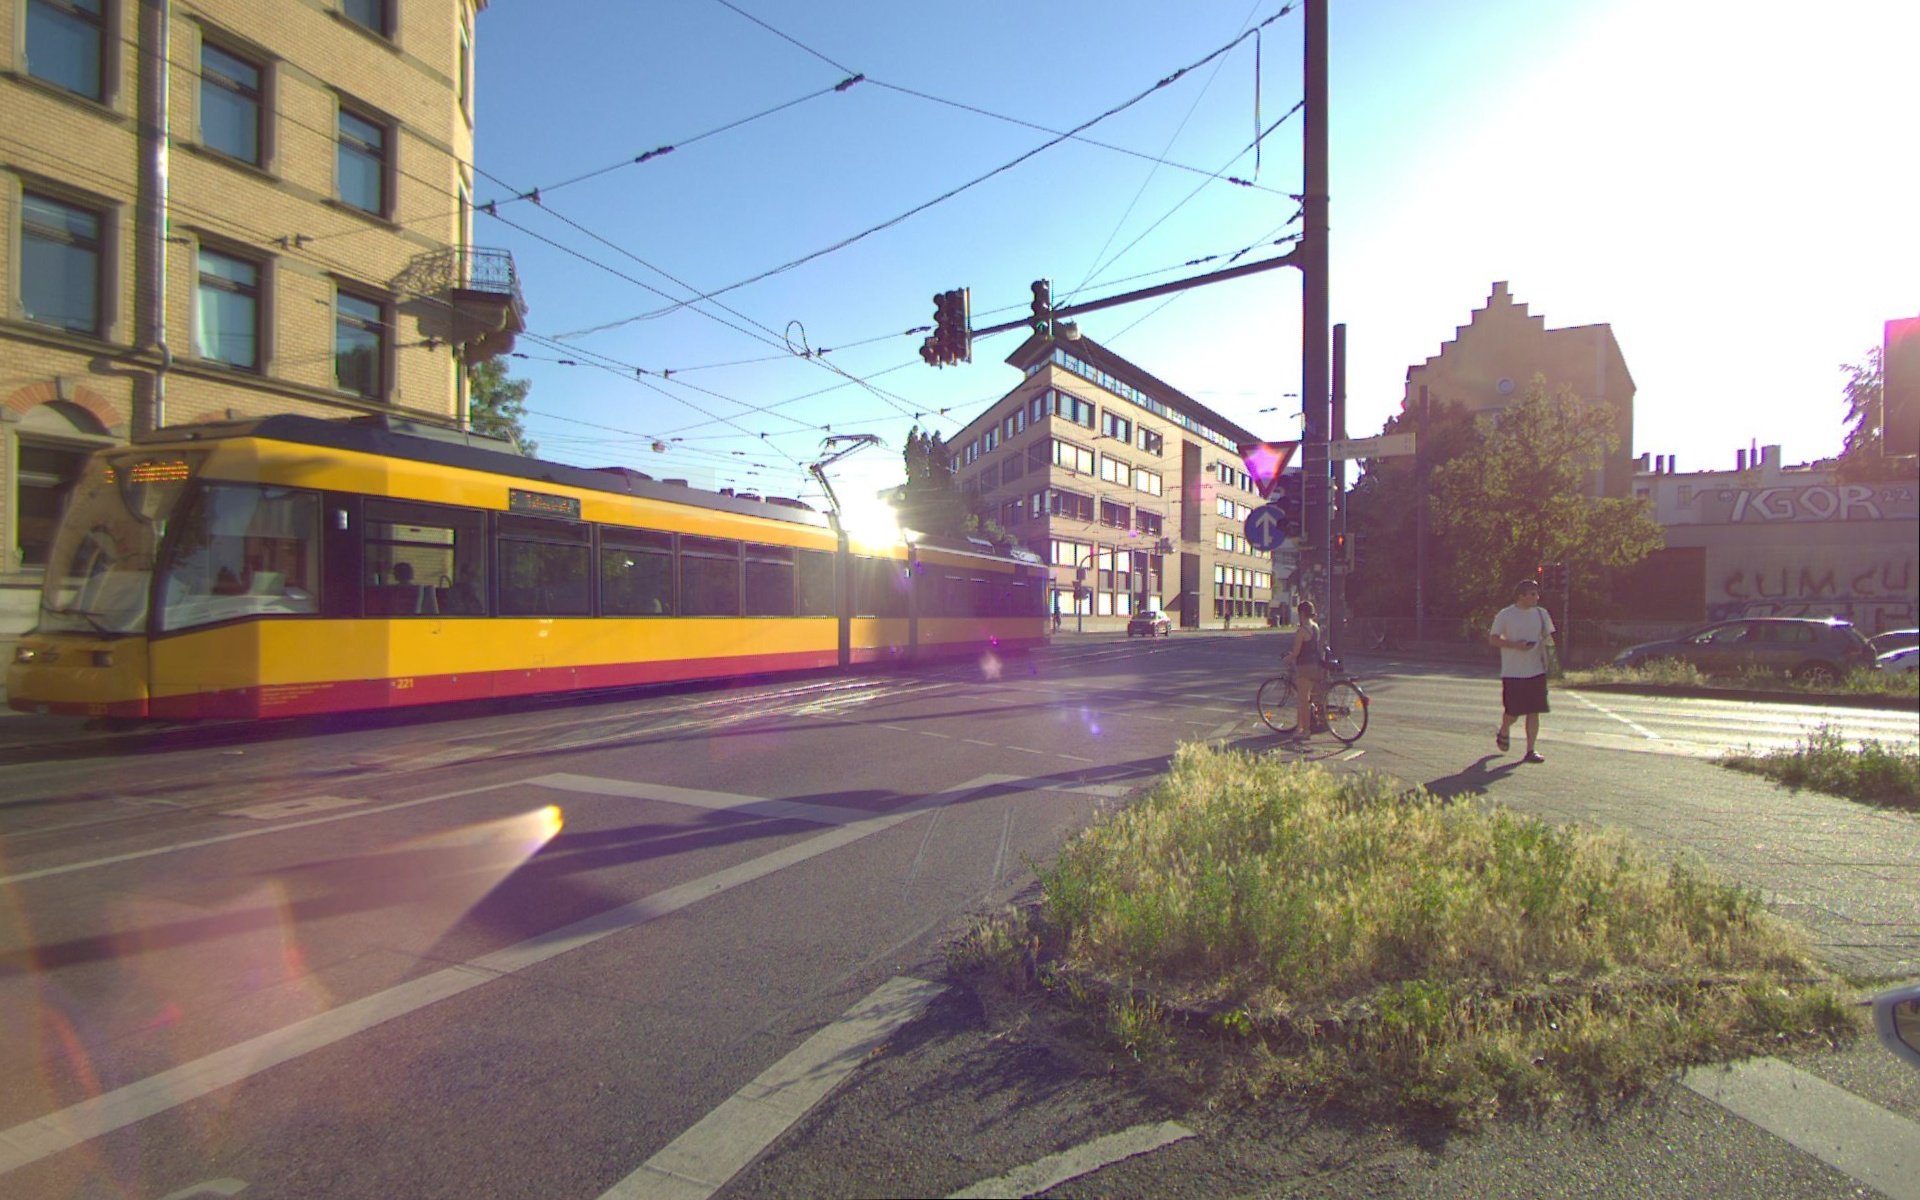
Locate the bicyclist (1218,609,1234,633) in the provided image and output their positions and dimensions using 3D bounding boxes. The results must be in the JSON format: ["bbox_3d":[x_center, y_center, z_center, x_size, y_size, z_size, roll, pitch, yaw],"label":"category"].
[{"bbox_3d":[23.382,1.837,88.300,0.978,2.040,1.247,0,0,36],"label":"bicyclist"}]

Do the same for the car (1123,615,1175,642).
[{"bbox_3d":[12.130,1.831,64.297,1.790,1.636,4.454,0,-1,32],"label":"car"}]

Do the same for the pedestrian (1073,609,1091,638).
[{"bbox_3d":[8.774,1.662,72.180,0.914,2.040,0.986,0,0,33],"label":"pedestrian"}]

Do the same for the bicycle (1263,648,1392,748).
[{"bbox_3d":[4.310,1.123,11.904,0.394,1.043,1.662,1,-1,-23],"label":"bicycle"}]

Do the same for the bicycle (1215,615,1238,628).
[{"bbox_3d":[23.418,1.884,88.357,0.996,1.150,2.817,1,0,36],"label":"bicycle"}]

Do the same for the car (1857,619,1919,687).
[{"bbox_3d":[20.439,1.079,19.934,1.713,1.337,3.843,1,-1,-45],"label":"car"}]

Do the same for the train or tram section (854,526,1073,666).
[{"bbox_3d":[0.624,-0.001,31.272,2.814,3.554,11.294,0,-1,22],"label":"train or tram section"}]

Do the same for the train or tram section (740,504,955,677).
[{"bbox_3d":[-2.436,-0.148,23.605,2.814,3.554,5.302,0,-1,22],"label":"train or tram section"}]

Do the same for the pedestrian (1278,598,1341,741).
[{"bbox_3d":[4.147,0.805,11.926,0.483,1.653,0.522,1,-1,-24],"label":"pedestrian"}]

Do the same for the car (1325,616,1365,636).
[{"bbox_3d":[27.472,1.844,71.568,1.761,1.407,3.988,0,-1,35],"label":"car"}]

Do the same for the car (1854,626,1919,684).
[{"bbox_3d":[23.164,1.278,23.075,1.713,1.313,3.843,1,-1,-45],"label":"car"}]

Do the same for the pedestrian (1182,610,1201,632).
[{"bbox_3d":[20.898,1.890,90.524,1.222,2.040,1.550,0,-1,33],"label":"pedestrian"}]

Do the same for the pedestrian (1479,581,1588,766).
[{"bbox_3d":[5.921,0.728,10.417,0.894,1.812,0.827,0,-1,24],"label":"pedestrian"}]

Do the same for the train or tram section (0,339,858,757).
[{"bbox_3d":[-5.856,-0.335,15.103,2.814,3.554,13.011,0,-1,22],"label":"train or tram section"}]

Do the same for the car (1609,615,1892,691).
[{"bbox_3d":[15.590,0.986,19.989,1.711,1.313,4.198,1,-1,-41],"label":"car"}]
